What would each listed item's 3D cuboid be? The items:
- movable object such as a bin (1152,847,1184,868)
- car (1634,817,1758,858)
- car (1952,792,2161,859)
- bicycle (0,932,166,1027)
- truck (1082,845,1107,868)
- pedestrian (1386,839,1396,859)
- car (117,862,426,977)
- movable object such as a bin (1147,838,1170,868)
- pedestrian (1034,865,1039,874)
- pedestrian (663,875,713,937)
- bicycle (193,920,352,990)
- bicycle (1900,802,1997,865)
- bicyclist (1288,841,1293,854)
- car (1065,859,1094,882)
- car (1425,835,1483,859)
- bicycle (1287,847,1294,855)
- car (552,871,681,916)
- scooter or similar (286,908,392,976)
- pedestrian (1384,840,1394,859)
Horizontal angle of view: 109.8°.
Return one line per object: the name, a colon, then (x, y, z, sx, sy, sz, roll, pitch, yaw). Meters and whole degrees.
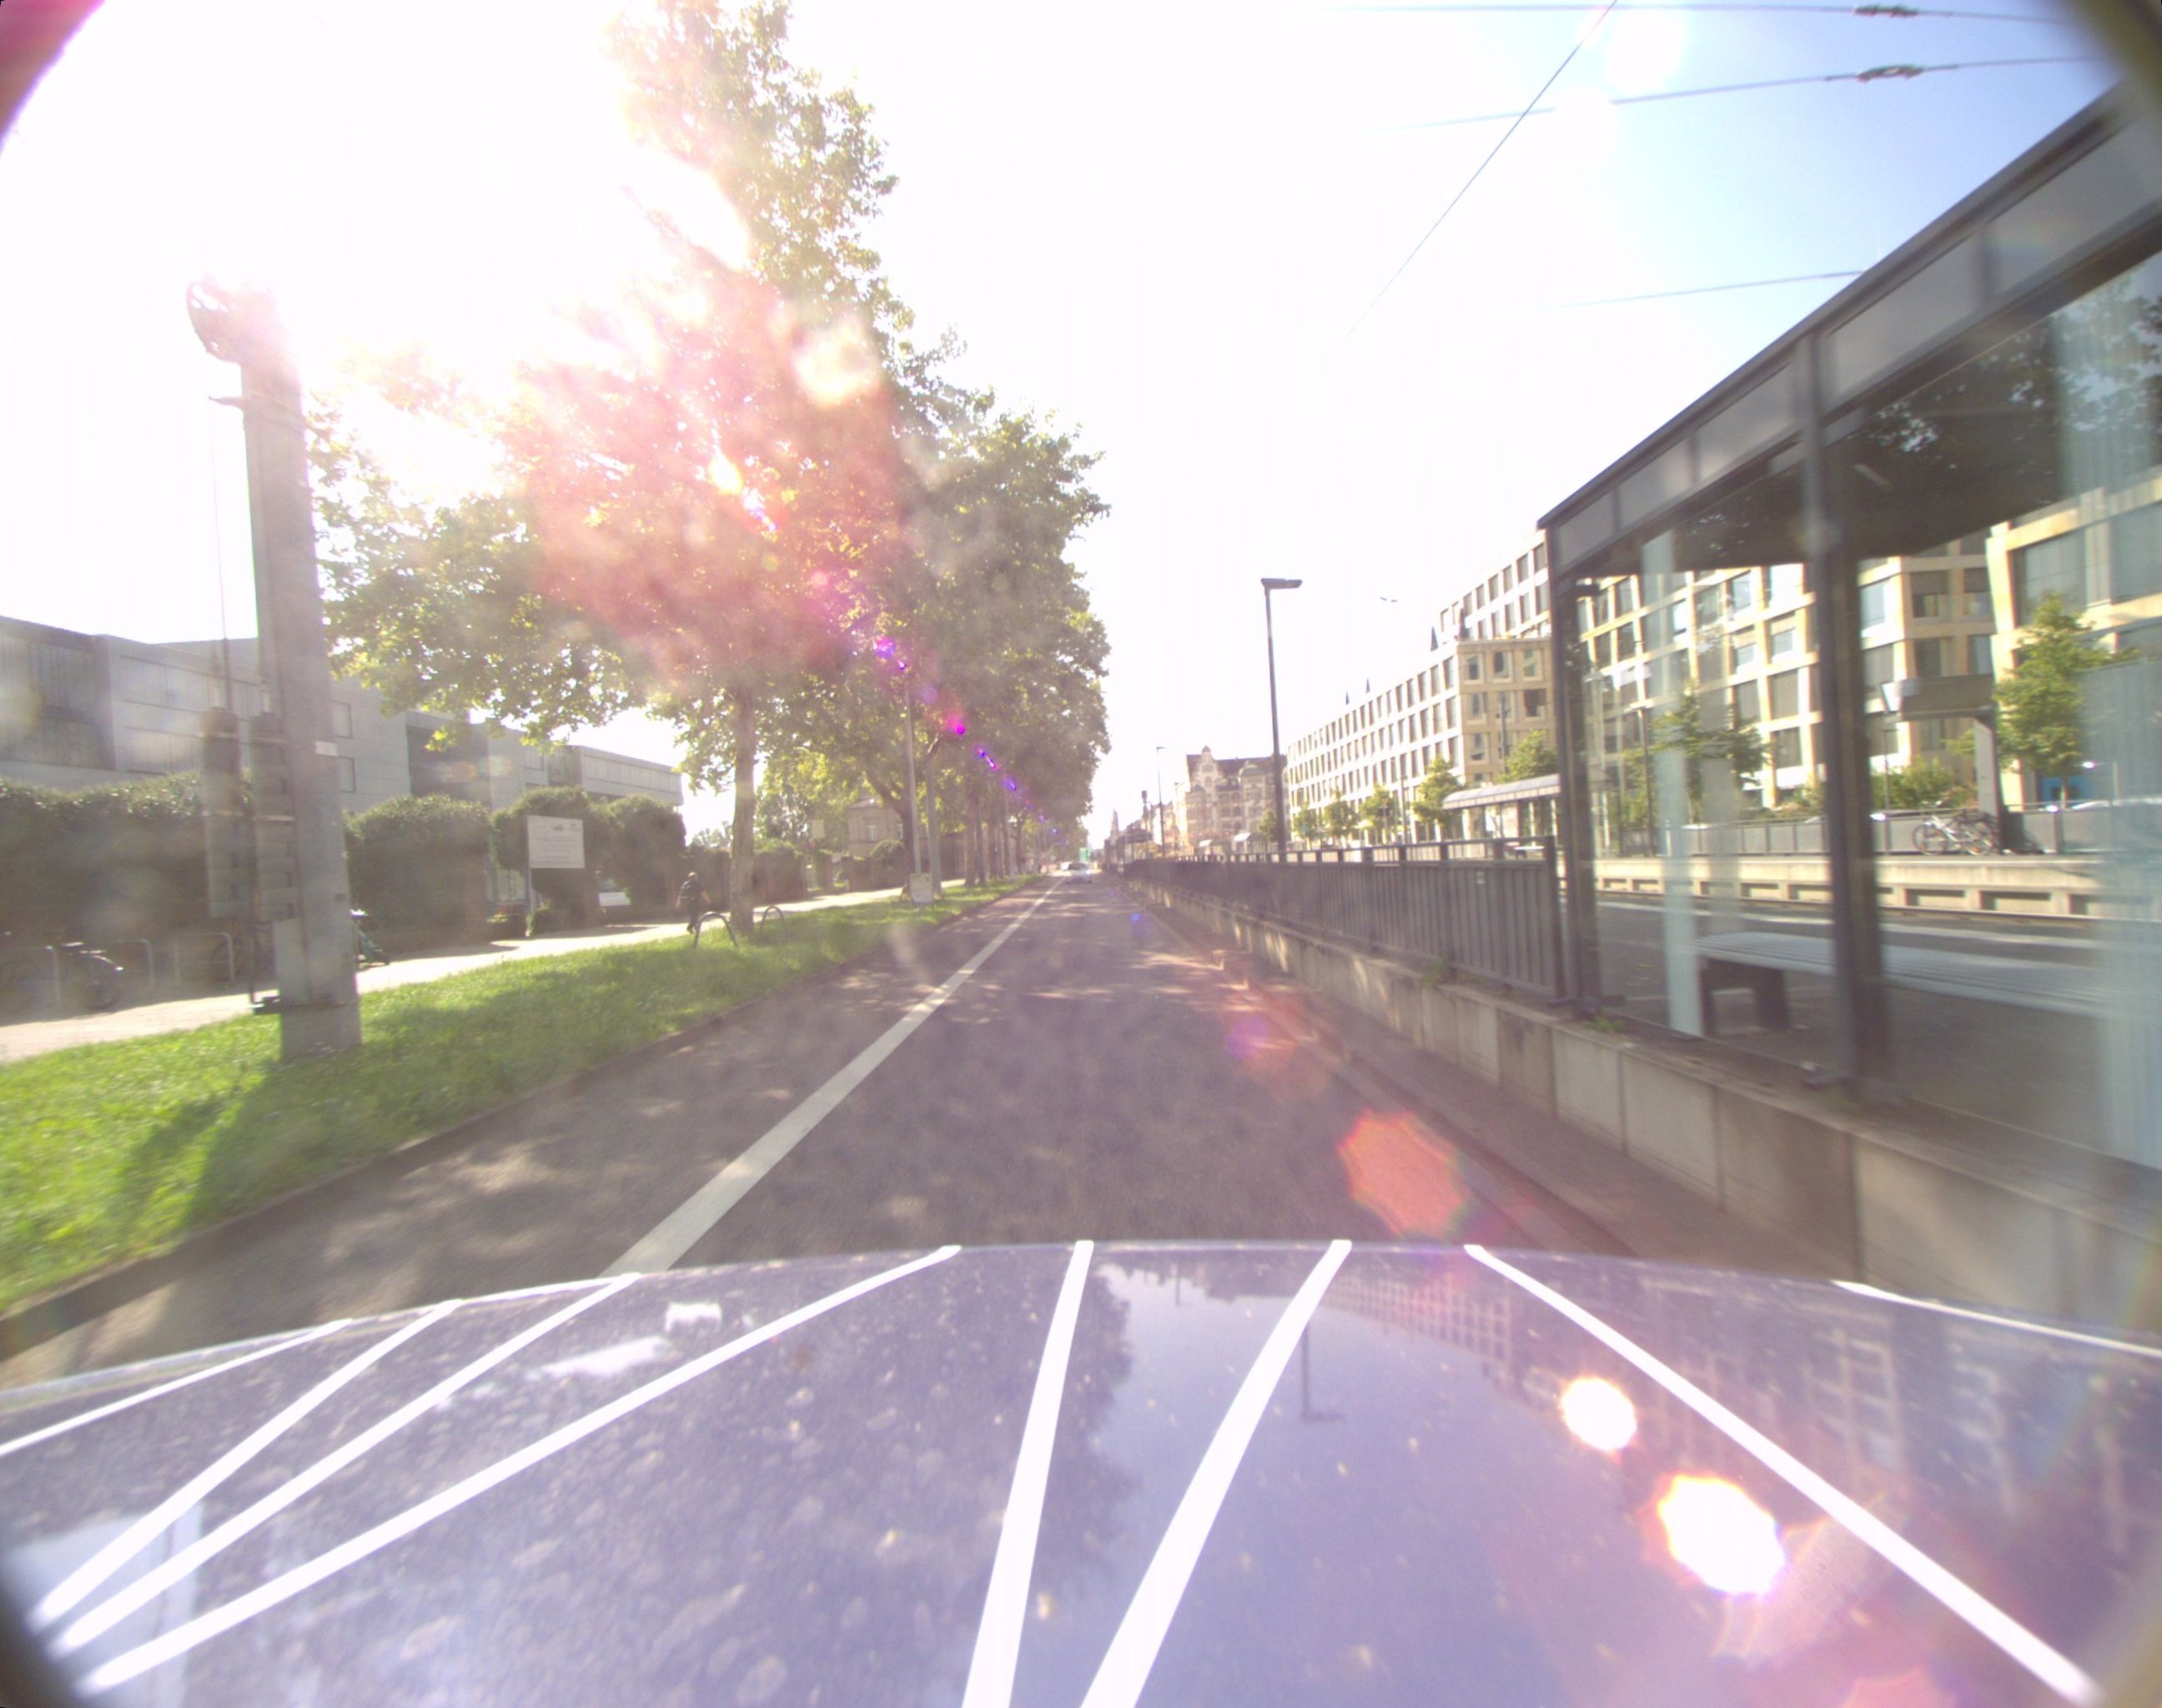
movable object such as a bin: (14.682, 0.554, 128.757, 4.127, 3.203, 3.564, -3, -1, -15)
car: (25.613, -0.638, 31.849, 1.768, 1.565, 4.132, -2, 0, -1)
car: (25.799, -0.681, 19.636, 1.768, 1.565, 4.132, -2, 0, -1)
bicycle: (-13.726, 1.664, 10.071, 2.179, 1.070, 0.743, -3, 0, -1)
truck: (2.315, 0.487, 135.434, 2.817, 3.766, 9.009, -3, -1, -10)
pedestrian: (31.513, -0.515, 77.257, 0.768, 2.002, 0.822, 0, 1, 4)
car: (-20.266, 1.587, 19.216, 5.388, 2.420, 2.251, -3, 0, 2)
movable object such as a bin: (12.225, -0.143, 120.389, 2.994, 4.527, 4.213, -3, -1, 2)
pedestrian: (-6.320, 2.213, 107.233, 0.610, 1.211, 0.574, -2, 0, -3)
pedestrian: (-10.118, 1.329, 19.591, 0.785, 1.506, 0.787, -3, 0, 0)
bicycle: (-13.991, 1.736, 13.190, 1.872, 1.000, 0.735, -3, 0, -1)
bicycle: (17.012, -0.398, 14.949, 0.472, 1.141, 1.485, -4, 0, 15)
bicyclist: (23.197, -0.720, 84.128, 0.387, 1.353, 0.447, -3, 0, 0)
car: (-0.064, 1.127, 53.266, 1.844, 1.451, 4.000, -3, 0, 1)
car: (25.342, -0.444, 51.790, 1.768, 1.525, 4.132, -2, 0, -1)
bicycle: (23.223, -0.302, 84.213, 0.389, 0.874, 1.576, -3, 0, 0)
car: (-20.791, 1.760, 34.172, 4.533, 1.723, 1.909, -3, 0, -2)
scooter or similar: (-14.024, 1.658, 14.379, 1.509, 1.184, 0.539, -2, 1, 4)
pedestrian: (33.315, -0.497, 82.179, 0.769, 2.002, 0.822, 0, 1, 3)
